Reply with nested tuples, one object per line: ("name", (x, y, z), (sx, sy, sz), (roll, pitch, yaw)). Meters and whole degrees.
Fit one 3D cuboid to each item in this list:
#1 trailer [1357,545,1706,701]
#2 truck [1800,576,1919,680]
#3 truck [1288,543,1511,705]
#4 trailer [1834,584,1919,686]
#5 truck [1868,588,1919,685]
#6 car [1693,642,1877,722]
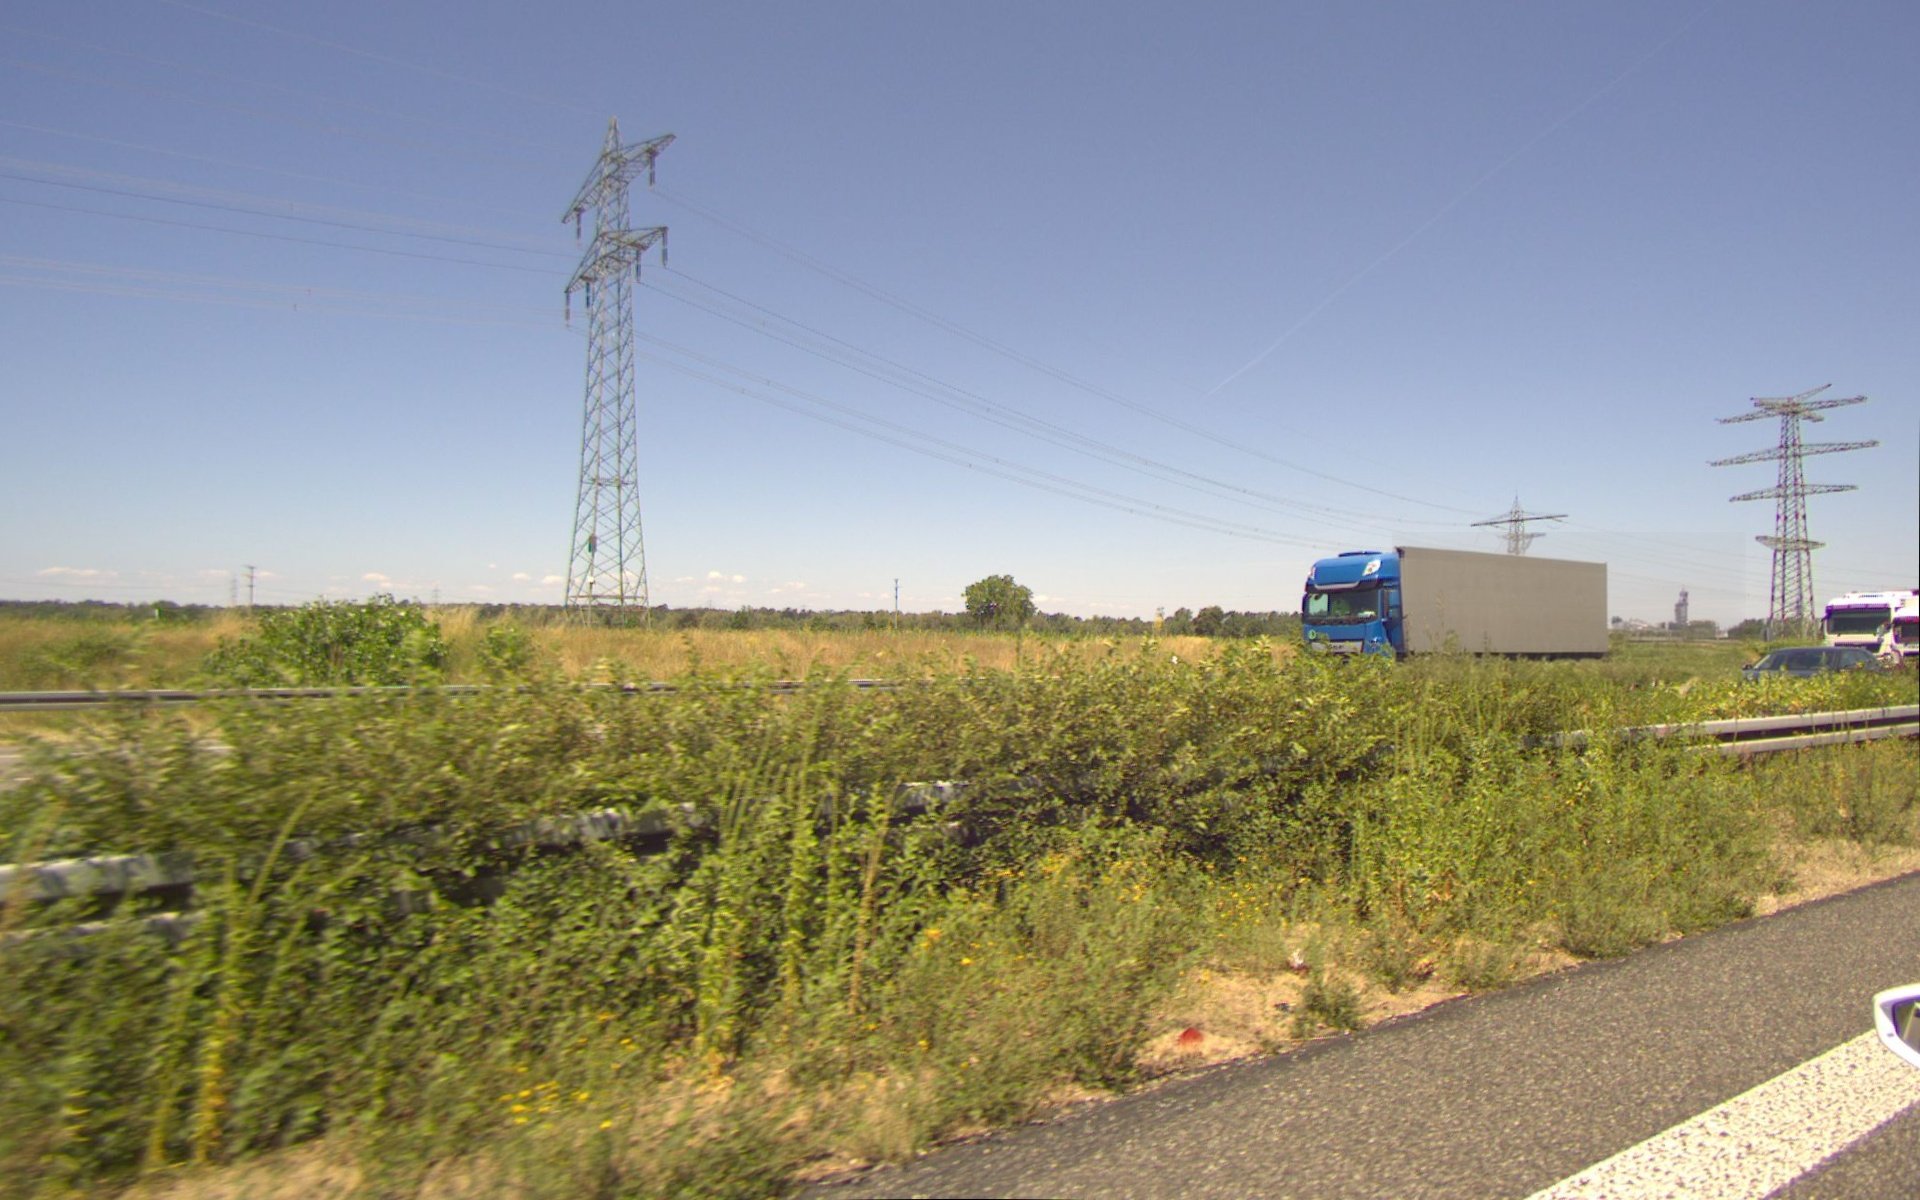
("trailer", (17.890, 0.799, 30.738), (13.981, 4.030, 2.836), (2, -2, -31))
("truck", (40.130, 1.258, 44.020), (6.366, 4.213, 3.197), (2, -2, -31))
("truck", (11.881, 0.688, 27.126), (5.555, 3.959, 2.850), (2, -2, -31))
("trailer", (45.690, 1.677, 47.259), (12.128, 4.363, 3.178), (2, 0, -30))
("truck", (38.312, 1.421, 38.280), (9.260, 3.457, 2.922), (2, -4, -31))
("car", (17.157, 1.644, 20.861), (3.953, 1.515, 1.658), (2, -2, -30))
